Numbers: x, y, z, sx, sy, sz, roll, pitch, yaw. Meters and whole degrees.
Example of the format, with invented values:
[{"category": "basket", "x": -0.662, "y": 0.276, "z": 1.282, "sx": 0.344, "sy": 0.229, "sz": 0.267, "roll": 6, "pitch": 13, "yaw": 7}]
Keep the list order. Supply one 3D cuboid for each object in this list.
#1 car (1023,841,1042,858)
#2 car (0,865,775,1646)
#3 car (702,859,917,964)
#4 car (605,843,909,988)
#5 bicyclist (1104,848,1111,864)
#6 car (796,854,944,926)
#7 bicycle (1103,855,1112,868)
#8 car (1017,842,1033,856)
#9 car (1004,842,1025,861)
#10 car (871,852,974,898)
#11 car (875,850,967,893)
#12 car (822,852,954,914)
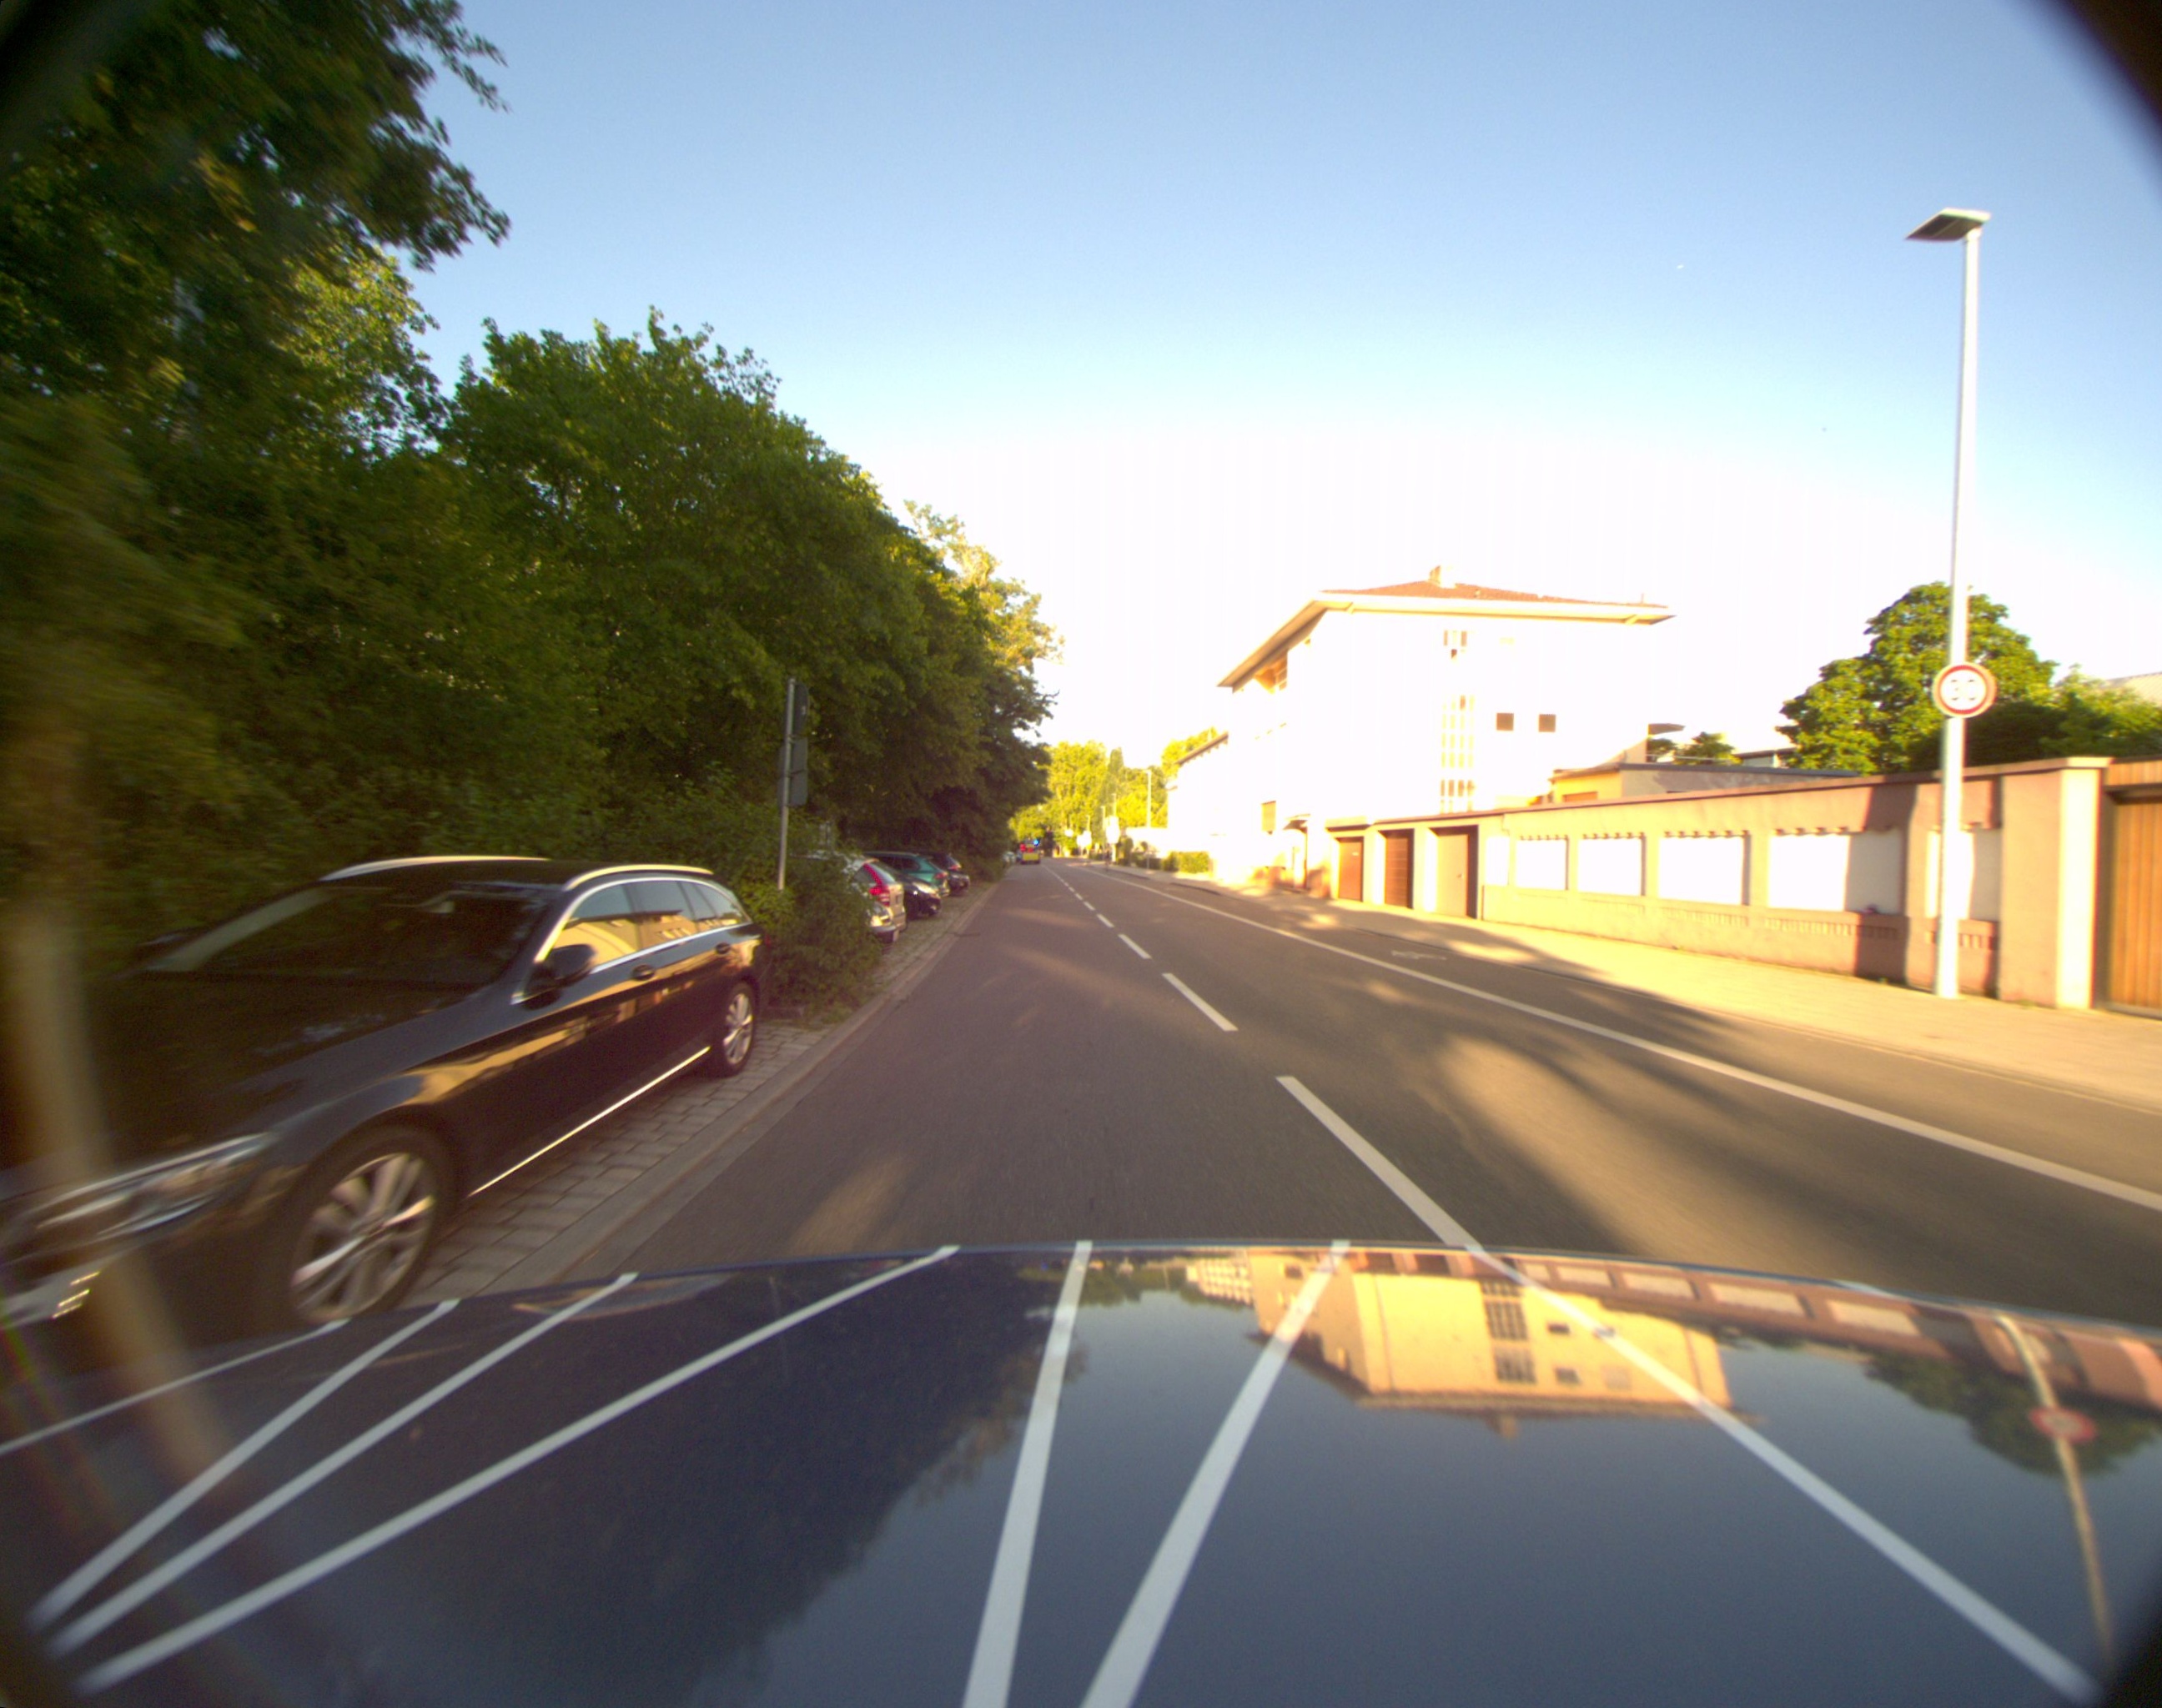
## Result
[{"category": "car", "x": -6.193, "y": -0.559, "z": 96.883, "sx": 2.229, "sy": 2.002, "sz": 4.889, "roll": 1, "pitch": 1, "yaw": -1}, {"category": "car", "x": -3.143, "y": 0.858, "z": 3.498, "sx": 1.752, "sy": 1.478, "sz": 4.507, "roll": 1, "pitch": 1, "yaw": -2}, {"category": "car", "x": -4.246, "y": 0.872, "z": 12.202, "sx": 2.868, "sy": 1.520, "sz": 1.622, "roll": 1, "pitch": 1, "yaw": 0}, {"category": "car", "x": -4.065, "y": 0.744, "z": 9.962, "sx": 3.265, "sy": 1.714, "sz": 1.679, "roll": 1, "pitch": 1, "yaw": -3}, {"category": "bicyclist", "x": 2.183, "y": 0.149, "z": 62.314, "sx": 0.479, "sy": 1.258, "sz": 0.567, "roll": 1, "pitch": 1, "yaw": -5}, {"category": "car", "x": -4.768, "y": 0.799, "z": 17.473, "sx": 3.121, "sy": 1.520, "sz": 1.620, "roll": 1, "pitch": 1, "yaw": -11}, {"category": "bicycle", "x": 2.168, "y": 0.627, "z": 62.324, "sx": 0.576, "sy": 1.056, "sz": 1.848, "roll": 1, "pitch": 1, "yaw": -5}, {"category": "car", "x": -8.369, "y": -0.753, "z": 113.646, "sx": 2.229, "sy": 2.002, "sz": 4.889, "roll": 1, "pitch": 1, "yaw": -1}, {"category": "car", "x": -7.158, "y": -0.252, "z": 82.122, "sx": 1.999, "sy": 2.002, "sz": 3.999, "roll": 1, "pitch": 1, "yaw": -1}, {"category": "car", "x": -5.219, "y": 0.682, "z": 25.304, "sx": 3.118, "sy": 1.452, "sz": 1.529, "roll": 1, "pitch": 1, "yaw": -2}, {"category": "car", "x": -5.894, "y": 0.616, "z": 28.105, "sx": 2.984, "sy": 1.519, "sz": 1.530, "roll": 1, "pitch": 1, "yaw": 5}, {"category": "car", "x": -5.035, "y": 0.735, "z": 20.084, "sx": 3.118, "sy": 1.520, "sz": 1.529, "roll": 1, "pitch": 1, "yaw": -3}]
